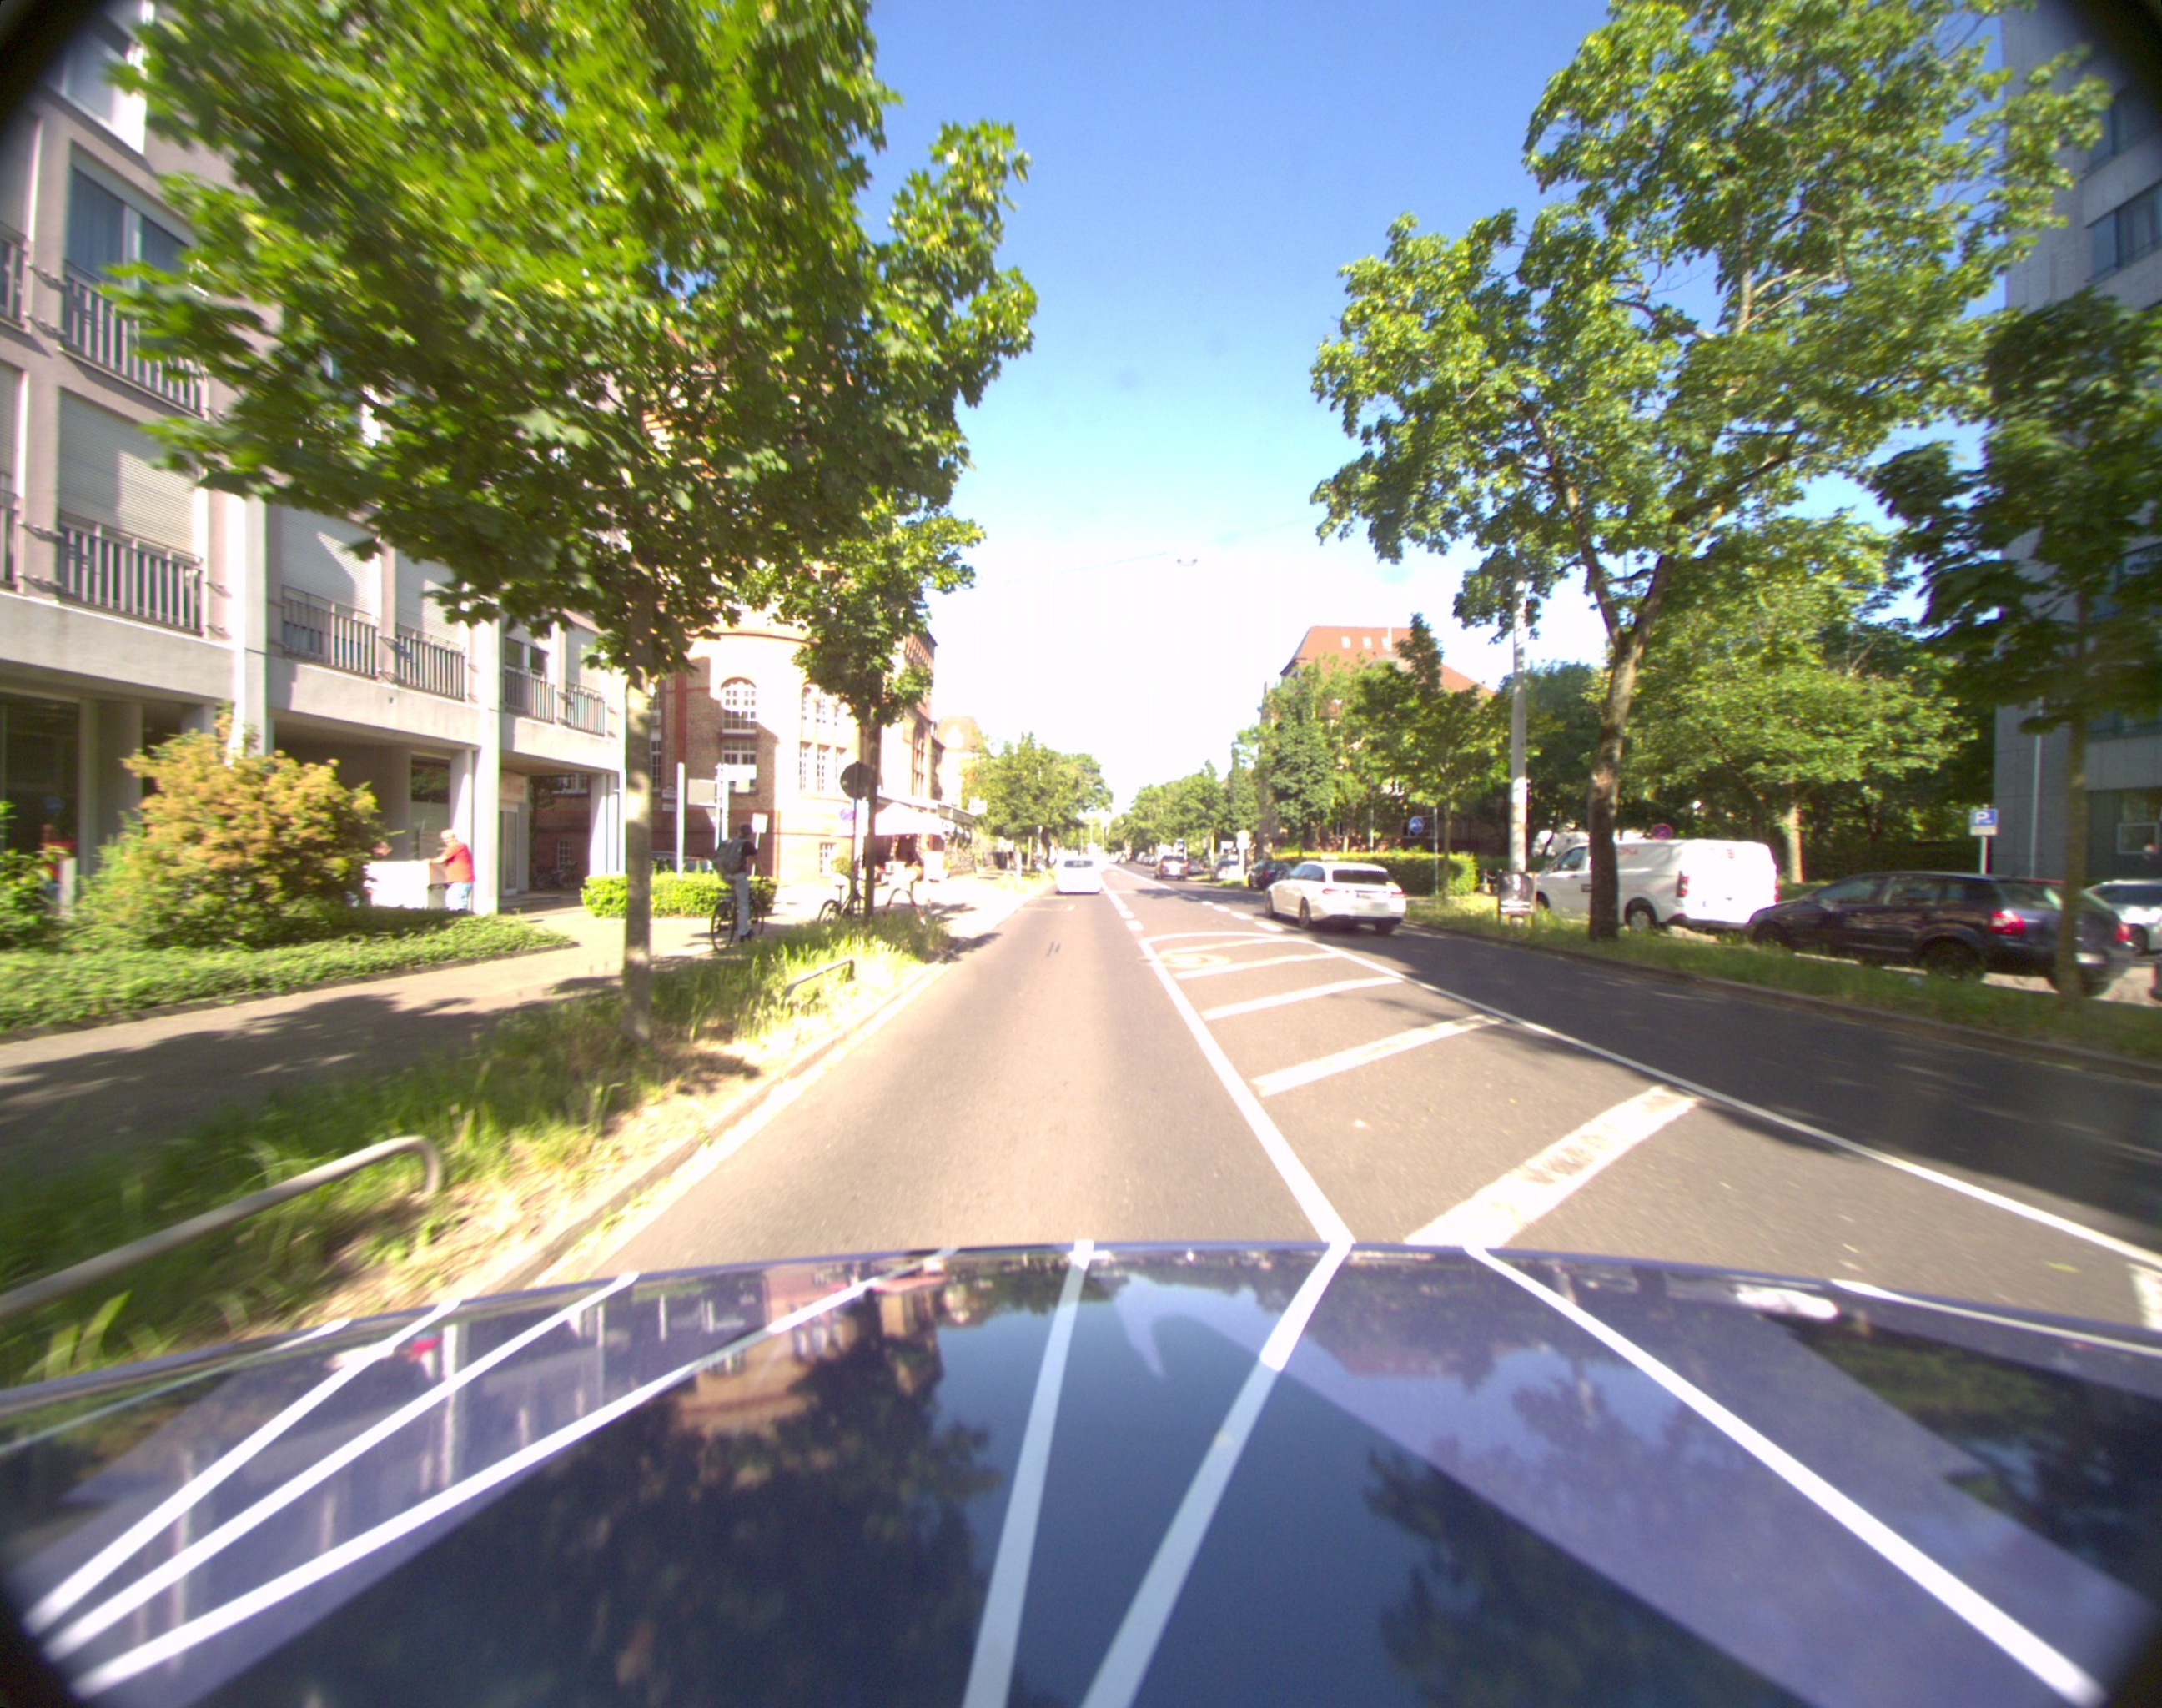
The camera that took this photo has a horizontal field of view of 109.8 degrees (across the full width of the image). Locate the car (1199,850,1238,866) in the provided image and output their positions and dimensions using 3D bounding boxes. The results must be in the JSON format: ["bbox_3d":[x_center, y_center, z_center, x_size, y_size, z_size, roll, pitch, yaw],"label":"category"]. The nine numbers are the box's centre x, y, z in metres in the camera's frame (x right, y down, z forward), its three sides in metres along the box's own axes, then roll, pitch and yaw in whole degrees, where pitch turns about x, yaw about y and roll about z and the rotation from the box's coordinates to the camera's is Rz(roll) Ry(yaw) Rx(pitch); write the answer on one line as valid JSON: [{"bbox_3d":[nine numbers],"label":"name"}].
[{"bbox_3d":[15.860,0.422,87.625,4.151,1.660,1.995,-2,-1,-33],"label":"car"}]

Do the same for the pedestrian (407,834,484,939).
[{"bbox_3d":[-10.136,0.502,12.134,0.655,1.595,0.603,4,1,-5],"label":"pedestrian"}]

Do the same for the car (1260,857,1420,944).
[{"bbox_3d":[5.570,0.917,17.065,1.860,1.559,4.714,3,0,-1],"label":"car"}]

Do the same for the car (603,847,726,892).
[{"bbox_3d":[-15.951,0.557,29.154,3.949,1.515,1.797,1,3,16],"label":"car"}]

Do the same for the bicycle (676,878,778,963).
[{"bbox_3d":[-4.972,0.896,10.797,0.590,1.022,1.859,0,1,-1],"label":"bicycle"}]

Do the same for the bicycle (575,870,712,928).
[{"bbox_3d":[-8.364,0.853,14.580,2.201,1.021,0.687,2,-1,2],"label":"bicycle"}]

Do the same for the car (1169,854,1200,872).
[{"bbox_3d":[9.809,0.823,72.219,1.861,1.485,4.703,-3,0,-4],"label":"car"}]

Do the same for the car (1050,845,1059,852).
[{"bbox_3d":[-5.858,-1.183,168.198,1.847,1.432,4.104,3,0,-4],"label":"car"}]

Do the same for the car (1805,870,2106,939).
[{"bbox_3d":[20.799,1.163,18.282,4.680,1.504,2.010,0,0,5],"label":"car"}]

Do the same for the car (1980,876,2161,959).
[{"bbox_3d":[21.085,1.199,14.936,4.625,1.434,1.937,0,0,-1],"label":"car"}]

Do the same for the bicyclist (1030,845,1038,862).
[{"bbox_3d":[-4.562,-0.054,74.116,0.702,1.590,0.955,0,1,0],"label":"bicyclist"}]

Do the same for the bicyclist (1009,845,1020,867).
[{"bbox_3d":[-5.293,0.191,60.382,0.647,1.685,0.889,4,0,1],"label":"bicyclist"}]

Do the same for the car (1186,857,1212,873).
[{"bbox_3d":[9.874,0.910,63.838,1.682,1.248,4.015,0,0,1],"label":"car"}]

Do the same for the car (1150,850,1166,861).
[{"bbox_3d":[10.571,0.233,104.693,1.698,1.448,4.663,2,0,-1],"label":"car"}]

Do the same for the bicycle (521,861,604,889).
[{"bbox_3d":[-21.330,0.842,31.338,1.057,1.021,2.774,-1,1,15],"label":"bicycle"}]

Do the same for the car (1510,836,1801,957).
[{"bbox_3d":[11.681,0.754,16.089,1.986,2.064,5.195,2,0,-2],"label":"car"}]

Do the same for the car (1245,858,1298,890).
[{"bbox_3d":[9.306,0.961,37.358,1.716,1.450,4.072,0,0,2],"label":"car"}]

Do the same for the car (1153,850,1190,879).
[{"bbox_3d":[6.154,0.702,51.901,1.860,1.814,4.609,2,0,-1],"label":"car"}]

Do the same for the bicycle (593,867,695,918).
[{"bbox_3d":[-9.558,0.838,16.738,0.686,1.021,2.205,2,-2,9],"label":"bicycle"}]

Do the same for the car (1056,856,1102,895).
[{"bbox_3d":[-0.010,0.823,30.814,1.652,1.449,3.897,1,0,3],"label":"car"}]

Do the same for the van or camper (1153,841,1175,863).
[{"bbox_3d":[10.787,-0.286,99.055,2.222,2.723,6.088,1,0,0],"label":"van or camper"}]

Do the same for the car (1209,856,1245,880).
[{"bbox_3d":[9.284,0.853,48.608,1.692,1.375,4.192,-2,0,3],"label":"car"}]

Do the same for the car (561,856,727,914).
[{"bbox_3d":[-12.641,0.854,22.073,3.950,1.514,1.863,0,2,14],"label":"car"}]

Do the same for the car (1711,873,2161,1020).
[{"bbox_3d":[11.466,1.092,10.655,1.786,1.514,4.319,0,0,2],"label":"car"}]

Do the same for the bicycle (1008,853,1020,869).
[{"bbox_3d":[-5.309,0.534,60.346,0.654,1.169,1.843,4,0,2],"label":"bicycle"}]

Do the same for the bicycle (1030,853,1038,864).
[{"bbox_3d":[-4.557,0.414,74.220,0.687,1.022,2.095,0,1,-1],"label":"bicycle"}]

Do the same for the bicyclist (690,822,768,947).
[{"bbox_3d":[-4.955,0.408,10.753,0.669,1.685,0.889,0,1,-1],"label":"bicyclist"}]

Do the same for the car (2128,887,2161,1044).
[{"bbox_3d":[11.471,1.094,5.491,1.860,1.514,4.318,0,0,0],"label":"car"}]

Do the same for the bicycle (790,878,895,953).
[{"bbox_3d":[-3.825,0.950,12.365,0.591,1.059,2.025,1,0,17],"label":"bicycle"}]
